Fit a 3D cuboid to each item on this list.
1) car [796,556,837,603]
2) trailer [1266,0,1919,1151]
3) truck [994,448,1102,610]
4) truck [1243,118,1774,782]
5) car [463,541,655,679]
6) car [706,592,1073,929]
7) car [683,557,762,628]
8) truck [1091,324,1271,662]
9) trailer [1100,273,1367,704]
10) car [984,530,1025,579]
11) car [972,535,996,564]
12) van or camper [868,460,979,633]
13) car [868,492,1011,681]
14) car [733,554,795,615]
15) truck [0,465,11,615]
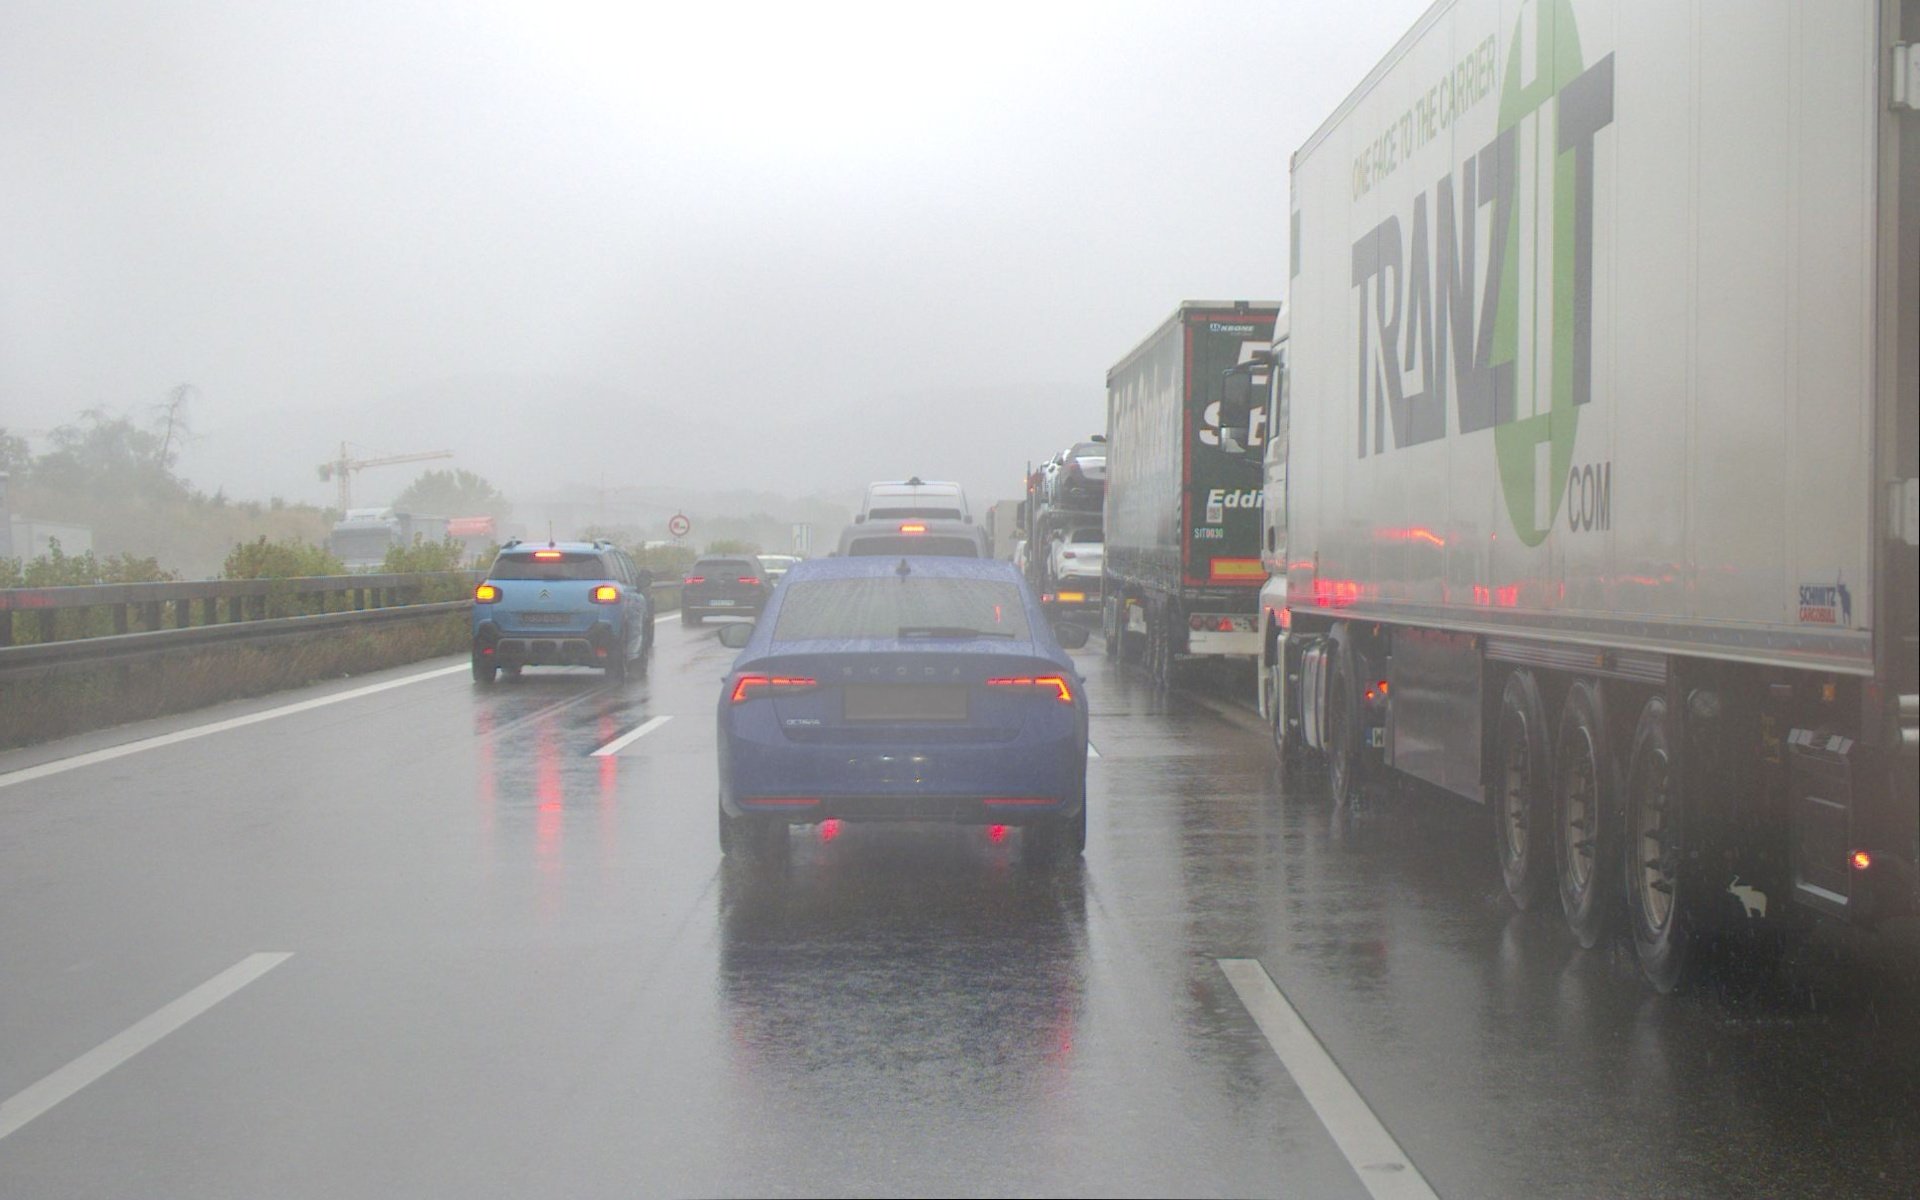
[{"bbox_3d":[-5.507,-0.793,131.831,1.448,1.777,3.409,0,1,0],"label":"car"},{"bbox_3d":[3.394,-0.853,15.472,2.630,3.999,14.630,0,1,0],"label":"trailer"},{"bbox_3d":[1.900,-1.614,76.757,1.993,3.410,8.033,0,2,-2],"label":"truck"},{"bbox_3d":[3.352,-0.915,22.191,2.630,3.814,4.791,0,1,0],"label":"truck"},{"bbox_3d":[-4.591,0.073,39.858,1.722,1.518,4.000,0,1,1],"label":"car"},{"bbox_3d":[-0.300,0.712,17.339,1.635,1.440,4.000,0,1,0],"label":"car"},{"bbox_3d":[-4.922,-0.170,71.541,1.439,1.415,3.322,0,1,0],"label":"car"},{"bbox_3d":[2.812,-1.368,44.559,2.047,4.178,4.000,0,1,0],"label":"truck"},{"bbox_3d":[2.876,-1.206,38.960,2.047,4.162,11.449,0,1,0],"label":"trailer"},{"bbox_3d":[1.642,-1.688,128.045,1.448,1.777,3.409,0,1,0],"label":"car"},{"bbox_3d":[1.539,-3.232,220.007,1.448,1.777,3.409,0,1,0],"label":"car"},{"bbox_3d":[-0.609,-0.919,57.940,1.797,2.797,4.768,0,1,0],"label":"van or camper"},{"bbox_3d":[-0.200,-0.163,33.796,1.336,1.773,3.322,0,1,0],"label":"car"},{"bbox_3d":[-5.033,-0.413,88.487,1.439,1.528,3.322,0,1,0],"label":"car"},{"bbox_3d":[-22.331,-1.200,71.403,2.925,3.270,9.256,0,2,-2],"label":"truck"}]
